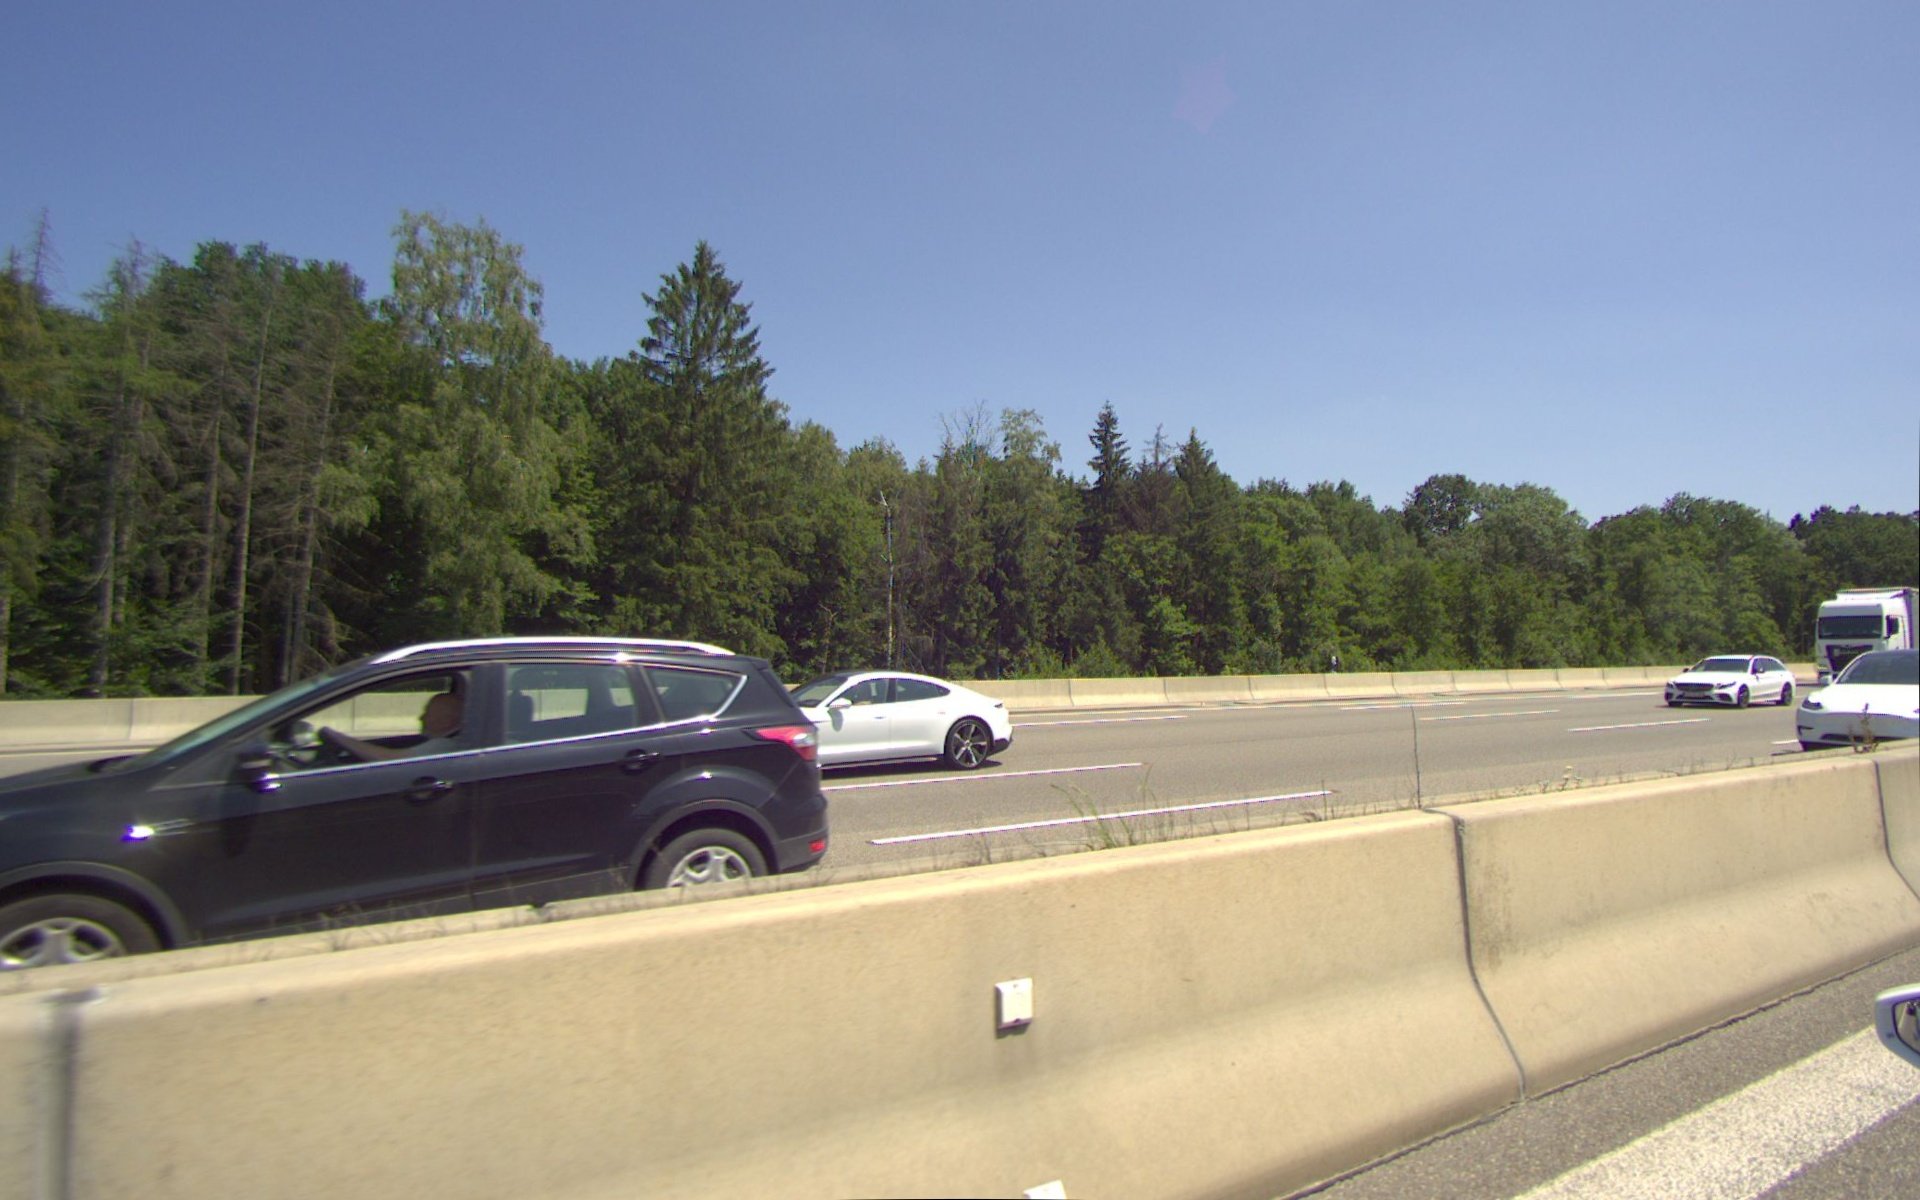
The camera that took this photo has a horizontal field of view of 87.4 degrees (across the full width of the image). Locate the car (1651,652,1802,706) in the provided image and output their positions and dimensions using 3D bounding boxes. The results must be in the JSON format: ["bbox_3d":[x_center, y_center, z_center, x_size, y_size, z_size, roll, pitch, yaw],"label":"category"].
[{"bbox_3d":[22.067,2.230,28.878,4.873,1.405,1.842,1,-3,-32],"label":"car"}]

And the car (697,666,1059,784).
[{"bbox_3d":[-1.105,1.662,14.303,4.787,1.323,1.984,1,-2,-30],"label":"car"}]

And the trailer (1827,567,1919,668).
[{"bbox_3d":[45.518,1.043,47.397,13.560,4.301,2.742,2,-3,-31],"label":"trailer"}]

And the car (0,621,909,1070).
[{"bbox_3d":[-2.512,0.994,5.545,4.157,1.695,1.745,1,-2,-32],"label":"car"}]

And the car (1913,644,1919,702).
[{"bbox_3d":[29.095,2.074,28.504,4.827,1.611,1.808,1,-1,-31],"label":"car"}]

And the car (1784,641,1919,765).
[{"bbox_3d":[14.755,1.477,15.443,4.423,1.695,1.804,1,-2,-30],"label":"car"}]

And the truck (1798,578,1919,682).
[{"bbox_3d":[39.766,1.386,43.972,6.304,4.275,2.747,2,-3,-31],"label":"truck"}]
